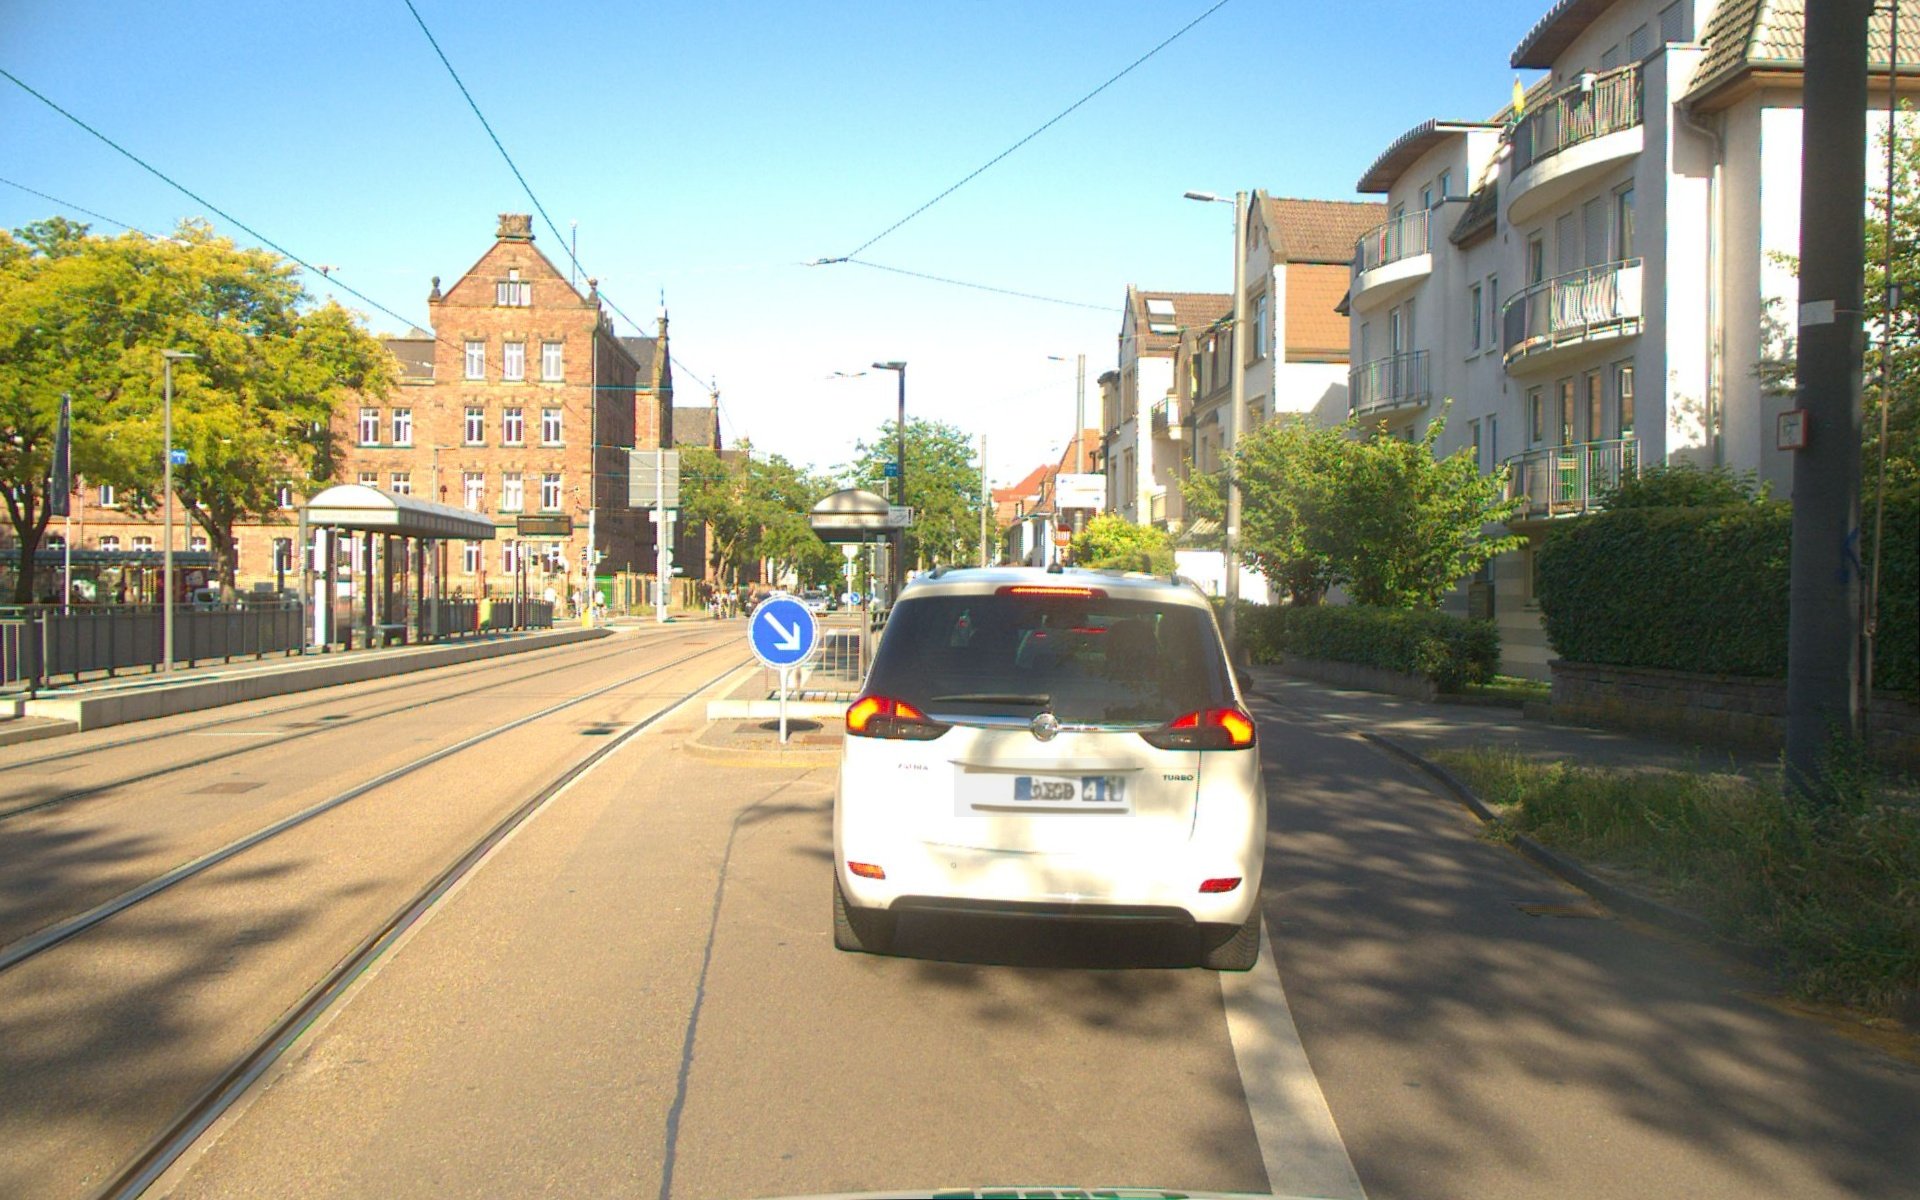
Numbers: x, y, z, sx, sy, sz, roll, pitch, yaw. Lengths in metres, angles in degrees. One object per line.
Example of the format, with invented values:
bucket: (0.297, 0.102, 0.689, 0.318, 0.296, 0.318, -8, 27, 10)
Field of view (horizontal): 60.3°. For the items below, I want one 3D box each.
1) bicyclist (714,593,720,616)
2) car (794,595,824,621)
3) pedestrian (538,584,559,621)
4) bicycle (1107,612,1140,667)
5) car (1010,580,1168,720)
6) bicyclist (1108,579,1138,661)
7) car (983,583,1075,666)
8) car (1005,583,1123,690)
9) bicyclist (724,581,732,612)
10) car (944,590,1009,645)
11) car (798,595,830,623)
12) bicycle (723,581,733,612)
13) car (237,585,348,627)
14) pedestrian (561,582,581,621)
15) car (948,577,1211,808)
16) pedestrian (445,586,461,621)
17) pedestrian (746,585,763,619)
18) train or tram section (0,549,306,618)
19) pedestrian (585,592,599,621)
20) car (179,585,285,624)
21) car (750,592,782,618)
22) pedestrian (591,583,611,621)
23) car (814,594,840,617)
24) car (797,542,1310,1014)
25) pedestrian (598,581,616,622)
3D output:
bicyclist: (-15.105, 0.272, 102.808, 0.307, 1.469, 0.384, 0, 0, -1)
car: (-10.470, 0.577, 115.049, 1.711, 1.746, 3.999, 1, 0, -1)
pedestrian: (-22.079, 0.128, 88.673, 0.791, 1.934, 0.744, 1, -1, 13)
bicycle: (3.466, 0.817, 35.224, 0.611, 1.116, 1.974, 0, 0, 3)
car: (1.751, 0.581, 21.658, 1.866, 1.653, 4.003, 0, 0, 6)
bicyclist: (3.462, 0.424, 35.216, 0.603, 1.716, 0.779, 0, 0, 3)
car: (1.446, 0.497, 36.125, 1.868, 1.690, 4.000, 0, 0, 0)
car: (1.788, 0.571, 28.292, 1.867, 1.690, 4.002, 0, 0, 4)
bicyclist: (-15.282, -0.221, 108.925, 0.488, 2.049, 0.572, 0, 0, -1)
car: (0.502, 0.545, 53.088, 1.869, 1.690, 3.998, 0, 0, -2)
car: (-9.453, 0.601, 107.207, 1.711, 1.746, 3.999, 1, 0, -1)
bicycle: (-15.277, -0.221, 108.963, 0.477, 2.049, 1.405, 0, 0, -1)
car: (-28.116, 0.255, 69.751, 3.908, 1.658, 1.817, 1, 0, -4)
pedestrian: (-20.710, 0.069, 88.029, 0.788, 2.049, 0.712, 1, -1, -34)
car: (1.068, 0.644, 13.780, 1.866, 1.625, 4.003, 0, 0, 6)
pedestrian: (-26.998, 0.186, 88.077, 0.754, 1.805, 0.717, 1, -1, -18)
pedestrian: (-12.051, 0.115, 96.831, 0.732, 1.934, 0.804, 1, -1, -25)
train or tram section: (-40.749, -0.775, 79.427, 17.048, 3.210, 3.343, 0, 0, -6)
pedestrian: (-21.131, 0.353, 94.973, 0.640, 1.640, 0.711, 1, -1, 1)
car: (-32.447, 0.208, 73.825, 3.908, 1.658, 1.817, 1, 0, -4)
car: (-13.306, 0.337, 113.504, 1.711, 1.746, 3.999, 1, 0, -1)
pedestrian: (-19.256, 0.097, 88.673, 0.789, 2.049, 0.711, 1, -1, -38)
car: (-10.356, 0.419, 128.905, 1.711, 1.746, 3.999, 1, 0, -1)
car: (0.550, 0.629, 8.035, 1.866, 1.690, 4.003, 0, 0, 6)
pedestrian: (-18.083, 0.074, 84.697, 0.782, 2.049, 0.717, 1, -1, -18)
